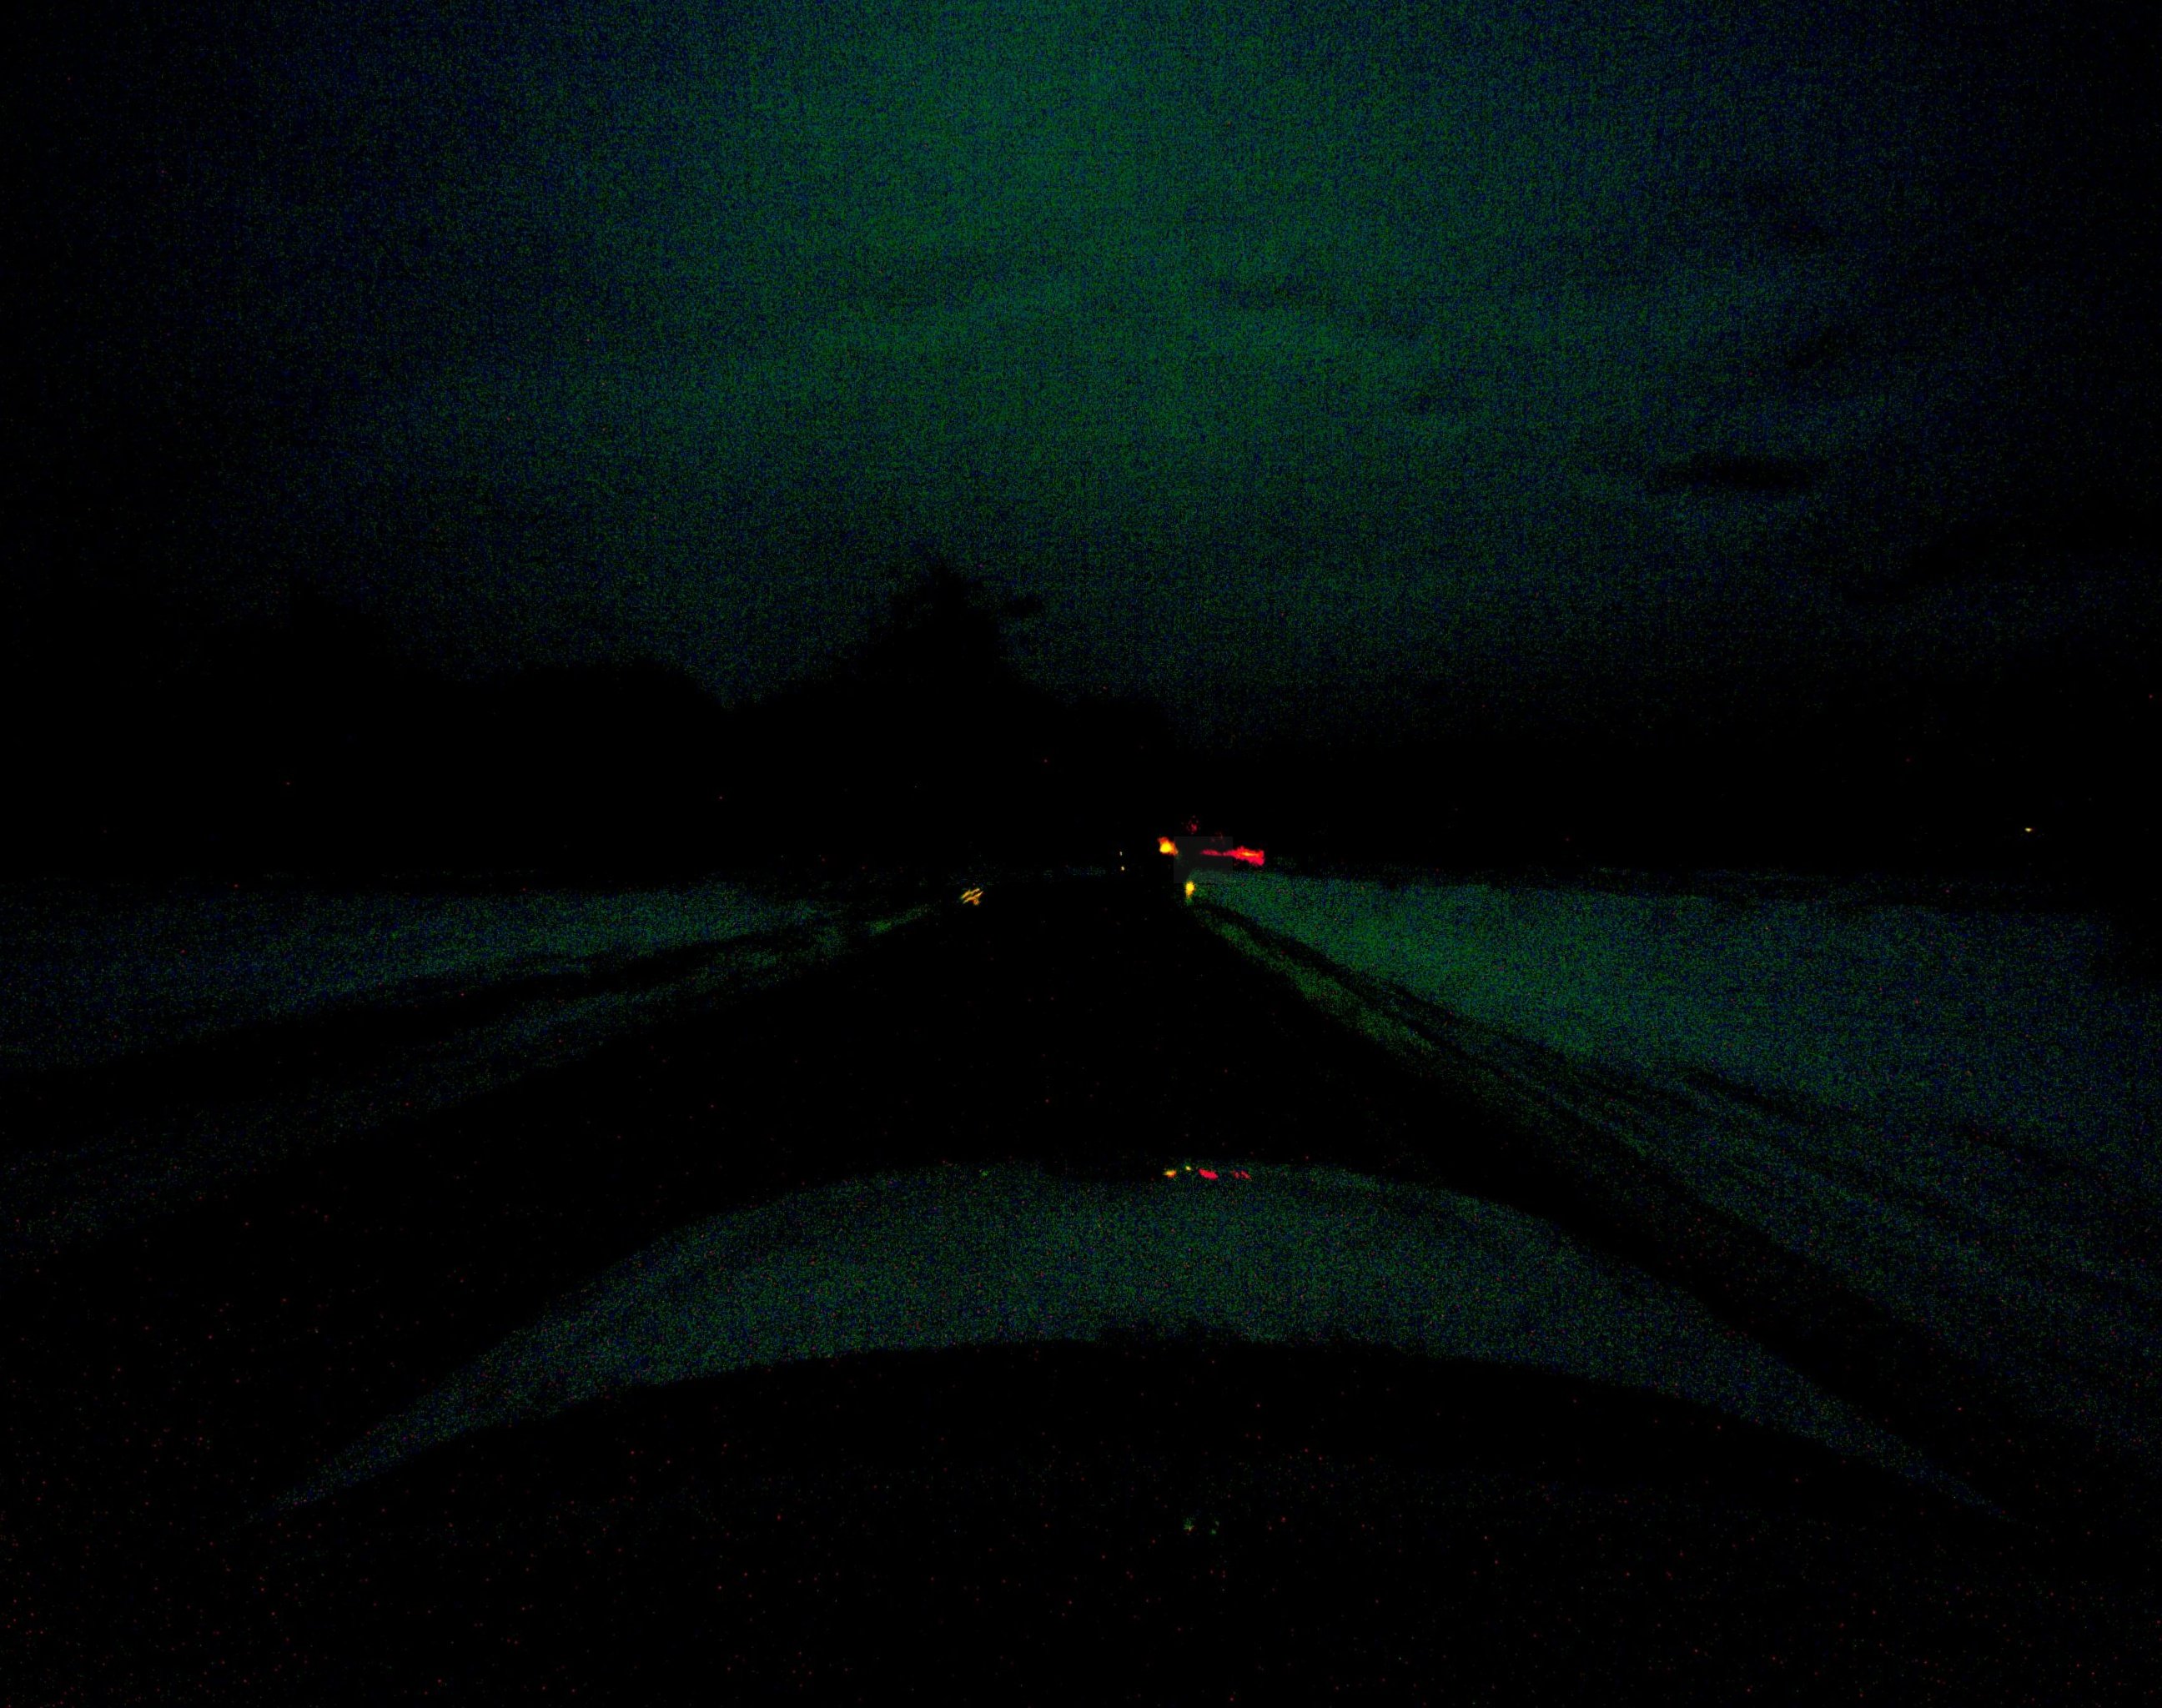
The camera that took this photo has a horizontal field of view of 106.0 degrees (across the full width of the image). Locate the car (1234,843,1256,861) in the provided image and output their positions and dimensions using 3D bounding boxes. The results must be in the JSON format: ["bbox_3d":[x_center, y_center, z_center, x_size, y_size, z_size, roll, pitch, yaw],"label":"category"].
[{"bbox_3d":[26.000,-0.357,129.072,2.232,2.645,5.035,-1,0,25],"label":"car"}]

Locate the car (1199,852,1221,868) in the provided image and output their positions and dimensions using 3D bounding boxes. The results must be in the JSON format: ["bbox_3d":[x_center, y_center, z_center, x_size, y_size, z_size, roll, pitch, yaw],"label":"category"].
[{"bbox_3d":[16.699,0.827,105.643,1.976,2.052,4.021,0,-1,22],"label":"car"}]
